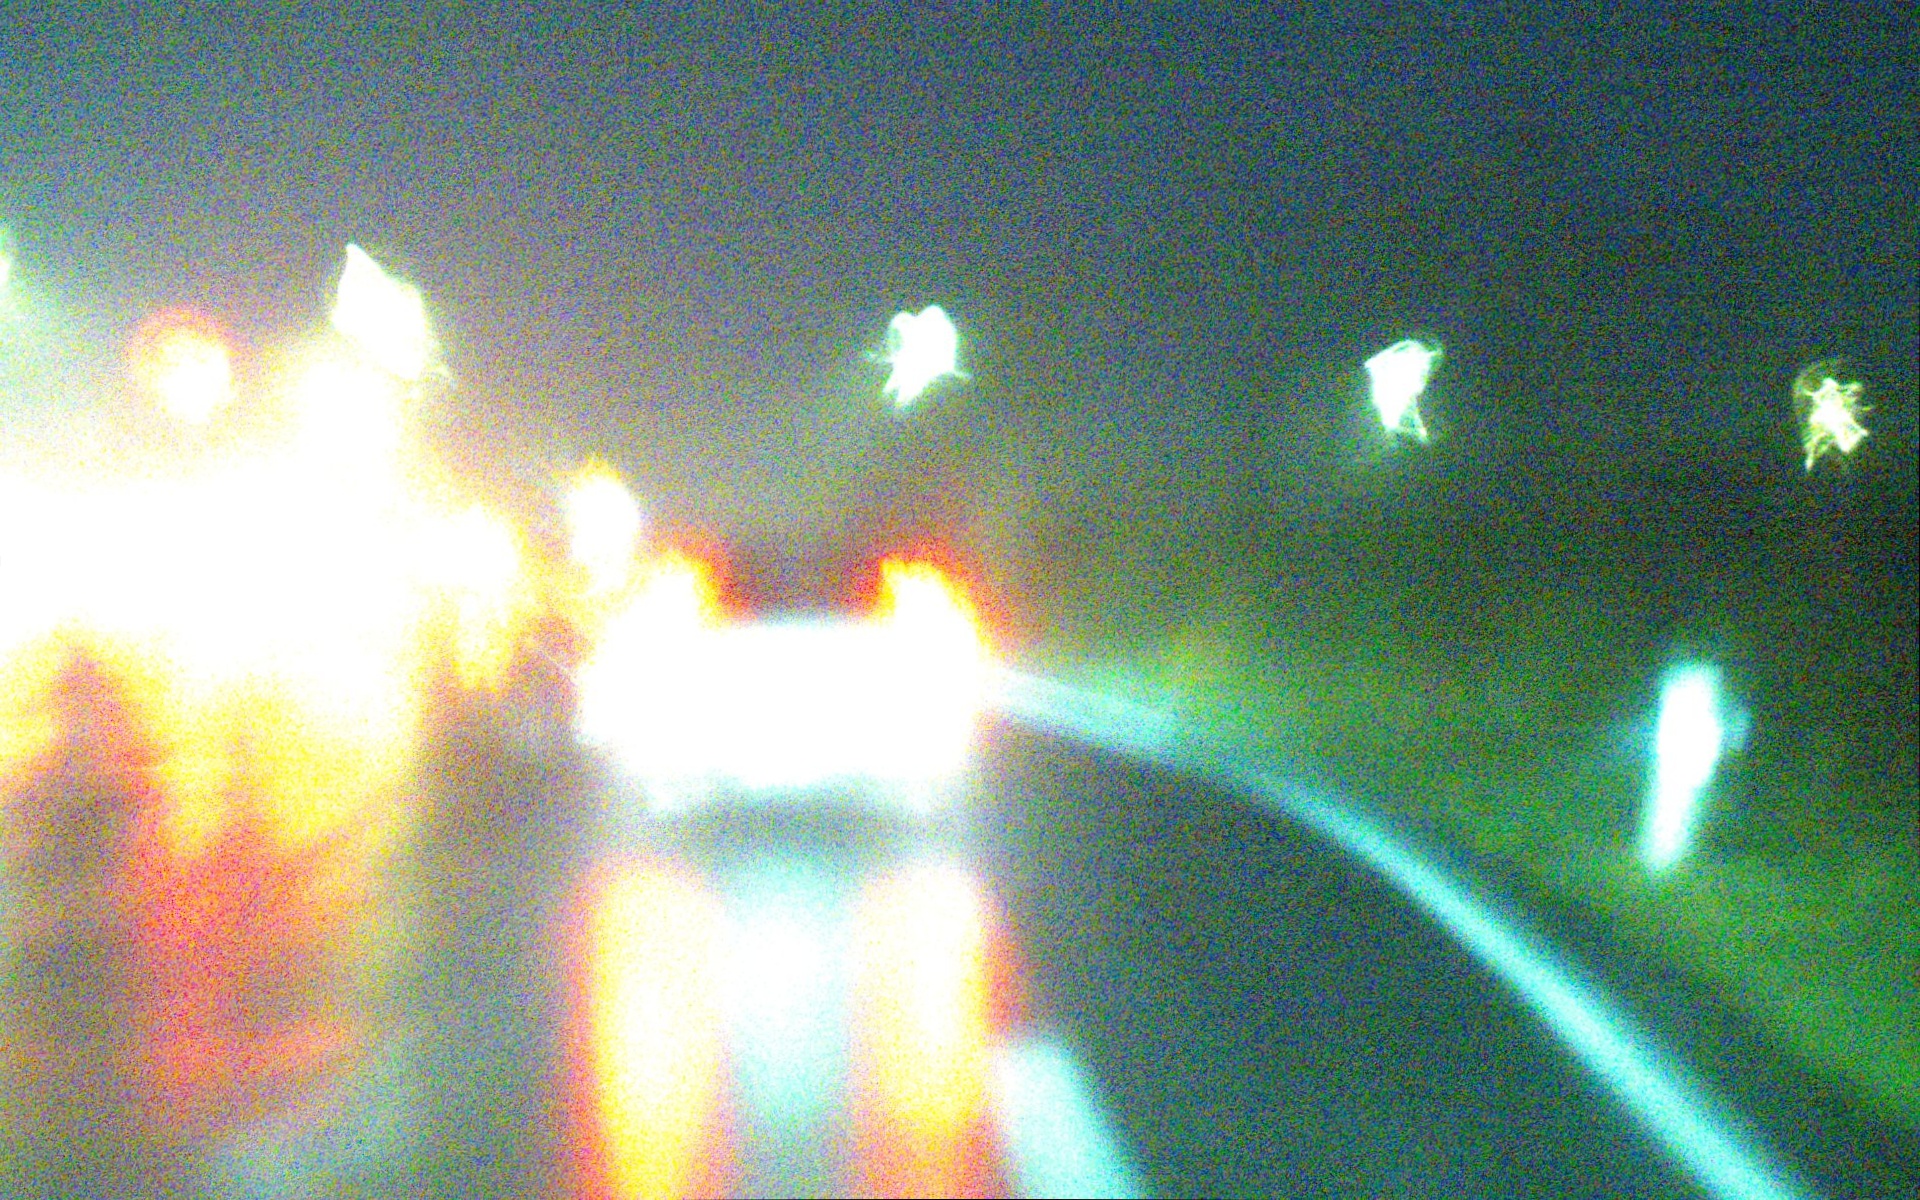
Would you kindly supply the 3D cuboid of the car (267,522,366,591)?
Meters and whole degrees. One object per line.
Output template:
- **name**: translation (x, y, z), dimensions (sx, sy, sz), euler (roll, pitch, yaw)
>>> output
- **car**: translation (-16.407, -1.140, 87.509), dimensions (1.993, 1.622, 4.986), euler (-2, 2, -16)

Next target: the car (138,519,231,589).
- **car**: translation (-19.751, -1.194, 87.395), dimensions (1.993, 1.622, 4.986), euler (-2, 2, -16)

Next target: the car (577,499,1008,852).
- **car**: translation (-0.796, 0.357, 18.630), dimensions (1.993, 1.622, 4.984), euler (1, 0, 0)

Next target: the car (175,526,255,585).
- **car**: translation (-22.181, -1.352, 102.245), dimensions (1.993, 1.622, 4.986), euler (-2, 2, -16)

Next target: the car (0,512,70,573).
- **car**: translation (-26.348, -1.649, 97.455), dimensions (1.993, 1.622, 4.986), euler (-2, 2, -16)
